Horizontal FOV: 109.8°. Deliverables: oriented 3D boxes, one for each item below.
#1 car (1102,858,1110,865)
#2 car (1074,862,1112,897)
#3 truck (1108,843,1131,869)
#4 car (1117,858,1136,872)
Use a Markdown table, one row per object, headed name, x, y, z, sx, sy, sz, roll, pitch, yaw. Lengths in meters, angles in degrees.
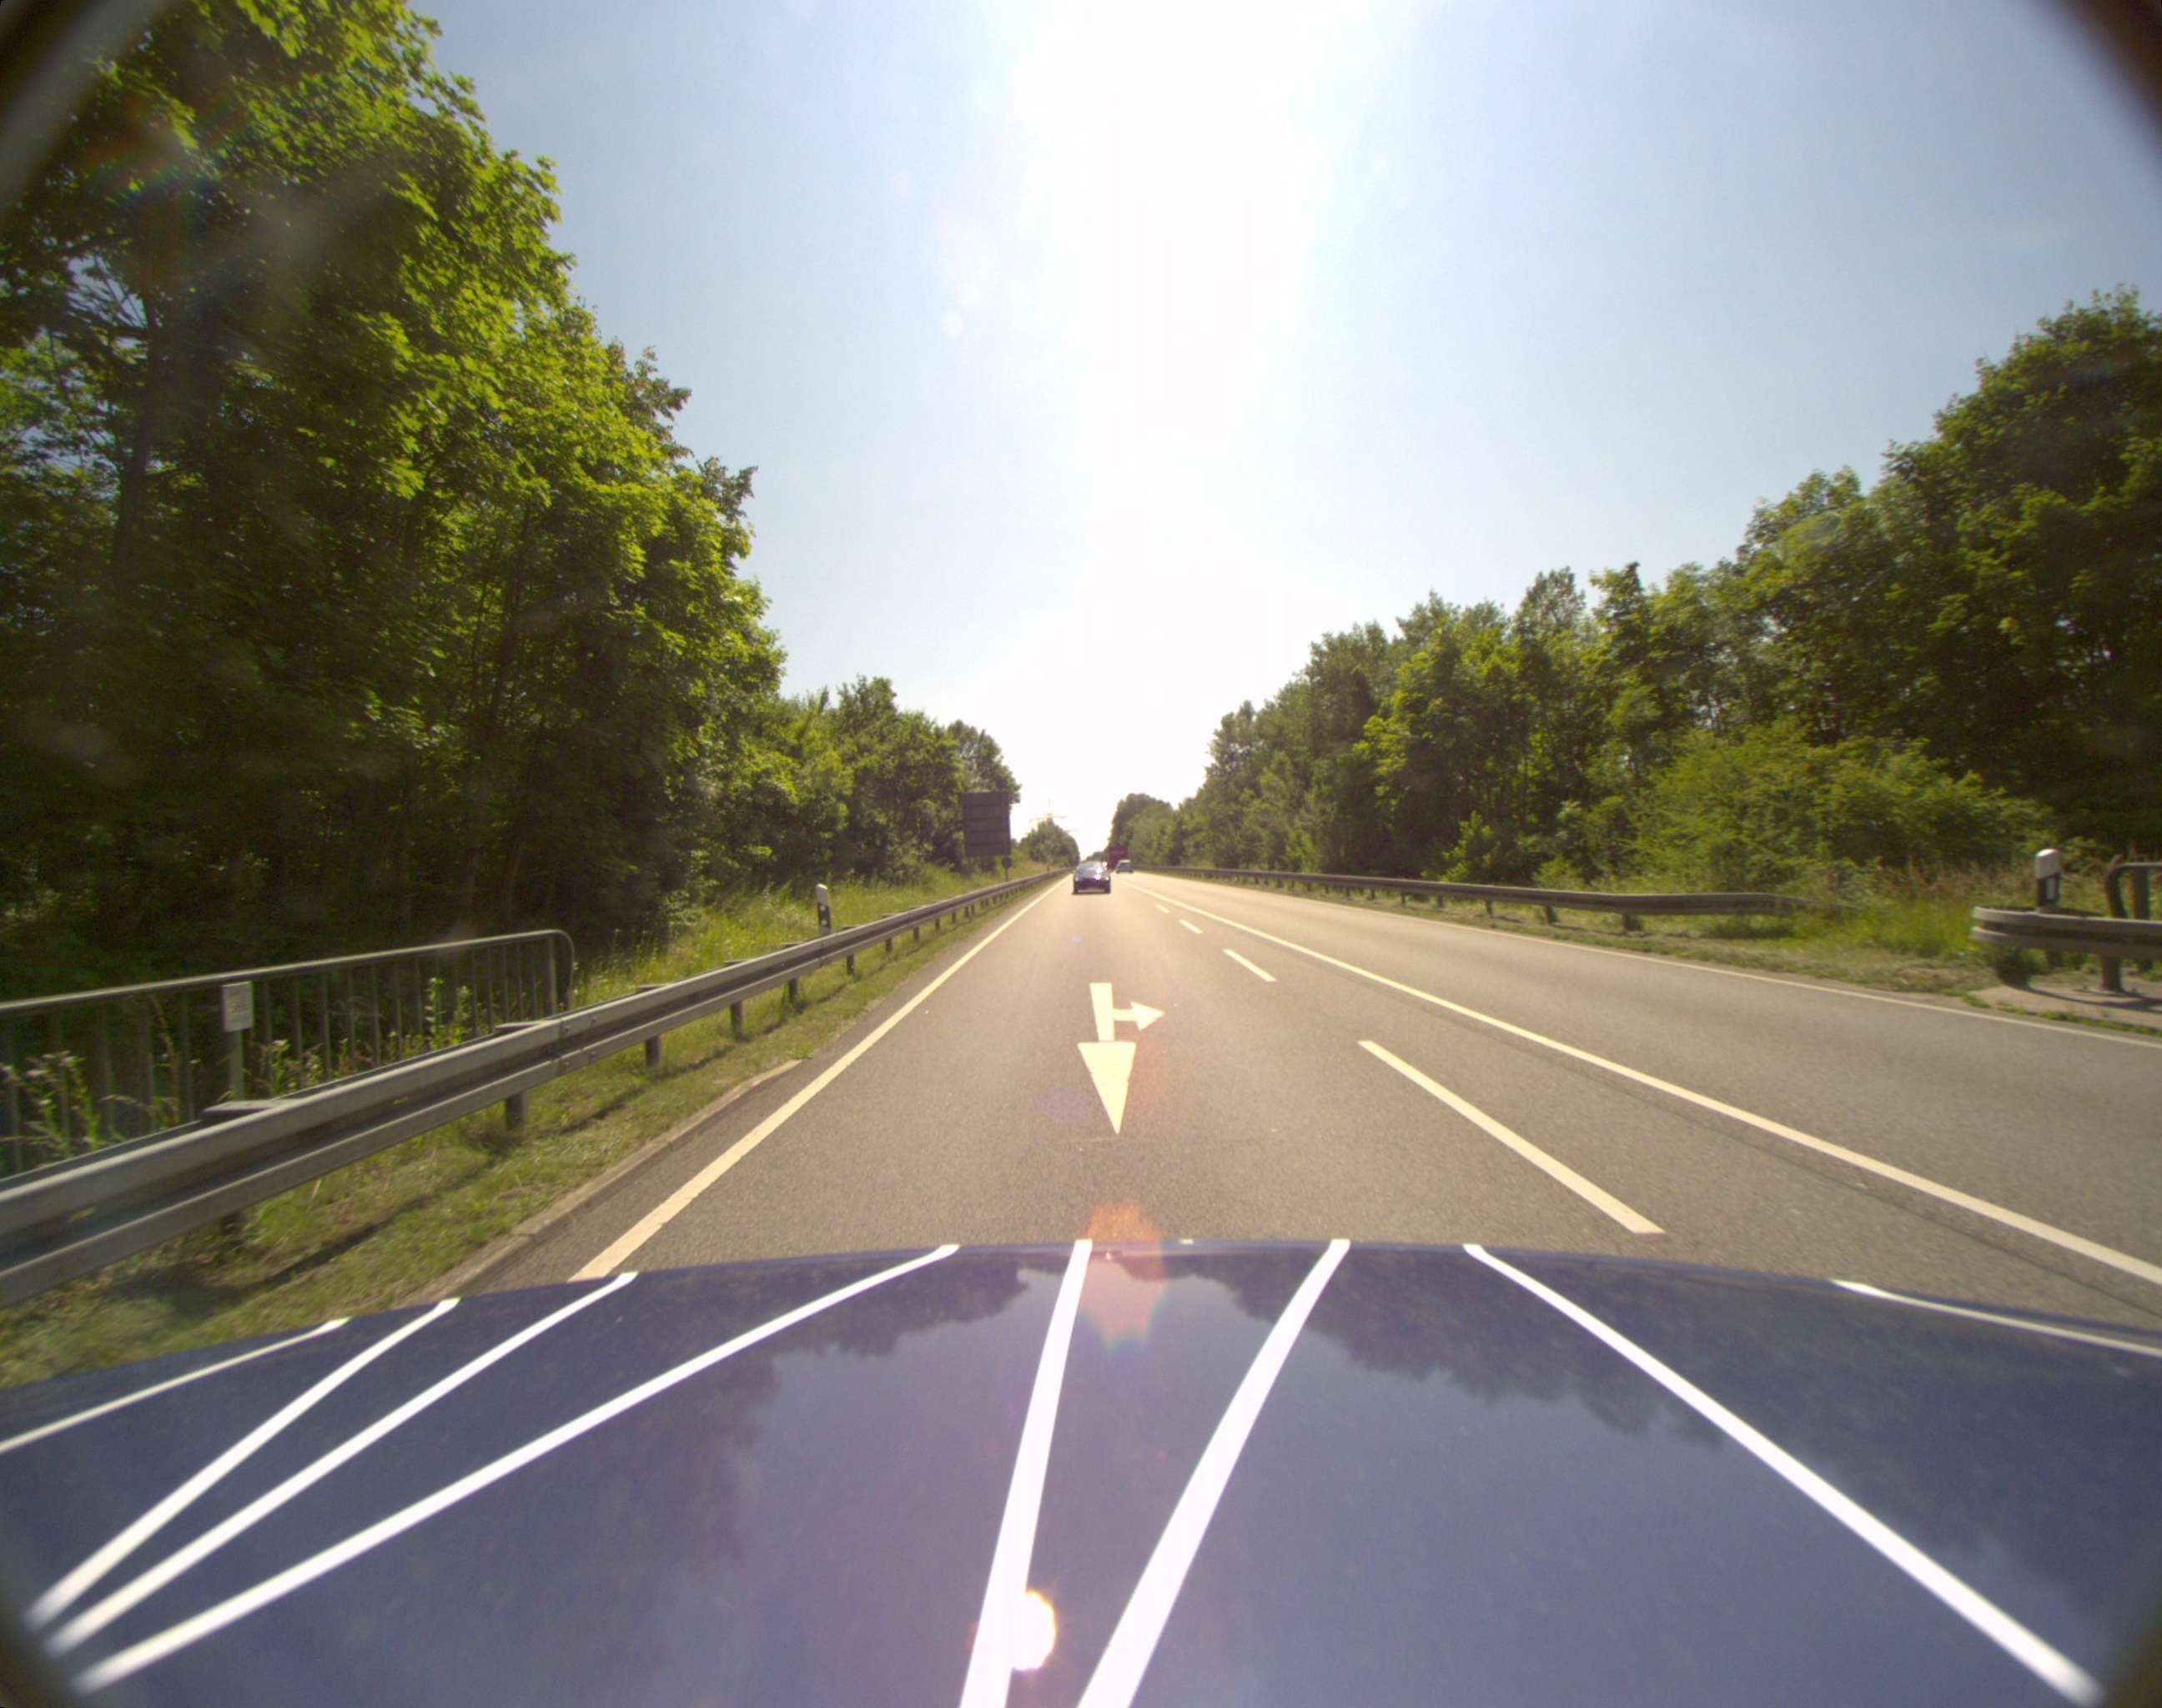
| name | x | y | z | sx | sy | sz | roll | pitch | yaw |
| --- | --- | --- | --- | --- | --- | --- | --- | --- | --- |
| car | 5.796 | 1.748 | 176.000 | 1.762 | 1.694 | 4.000 | -1 | 0 | 0 |
| car | 0.518 | 1.068 | 32.982 | 1.529 | 1.387 | 3.443 | -1 | 0 | 1 |
| truck | 5.671 | 0.359 | 113.914 | 3.199 | 3.678 | 9.008 | -2 | 0 | 2 |
| car | 5.193 | 1.277 | 87.659 | 1.823 | 1.537 | 4.526 | -1 | 0 | -1 |
